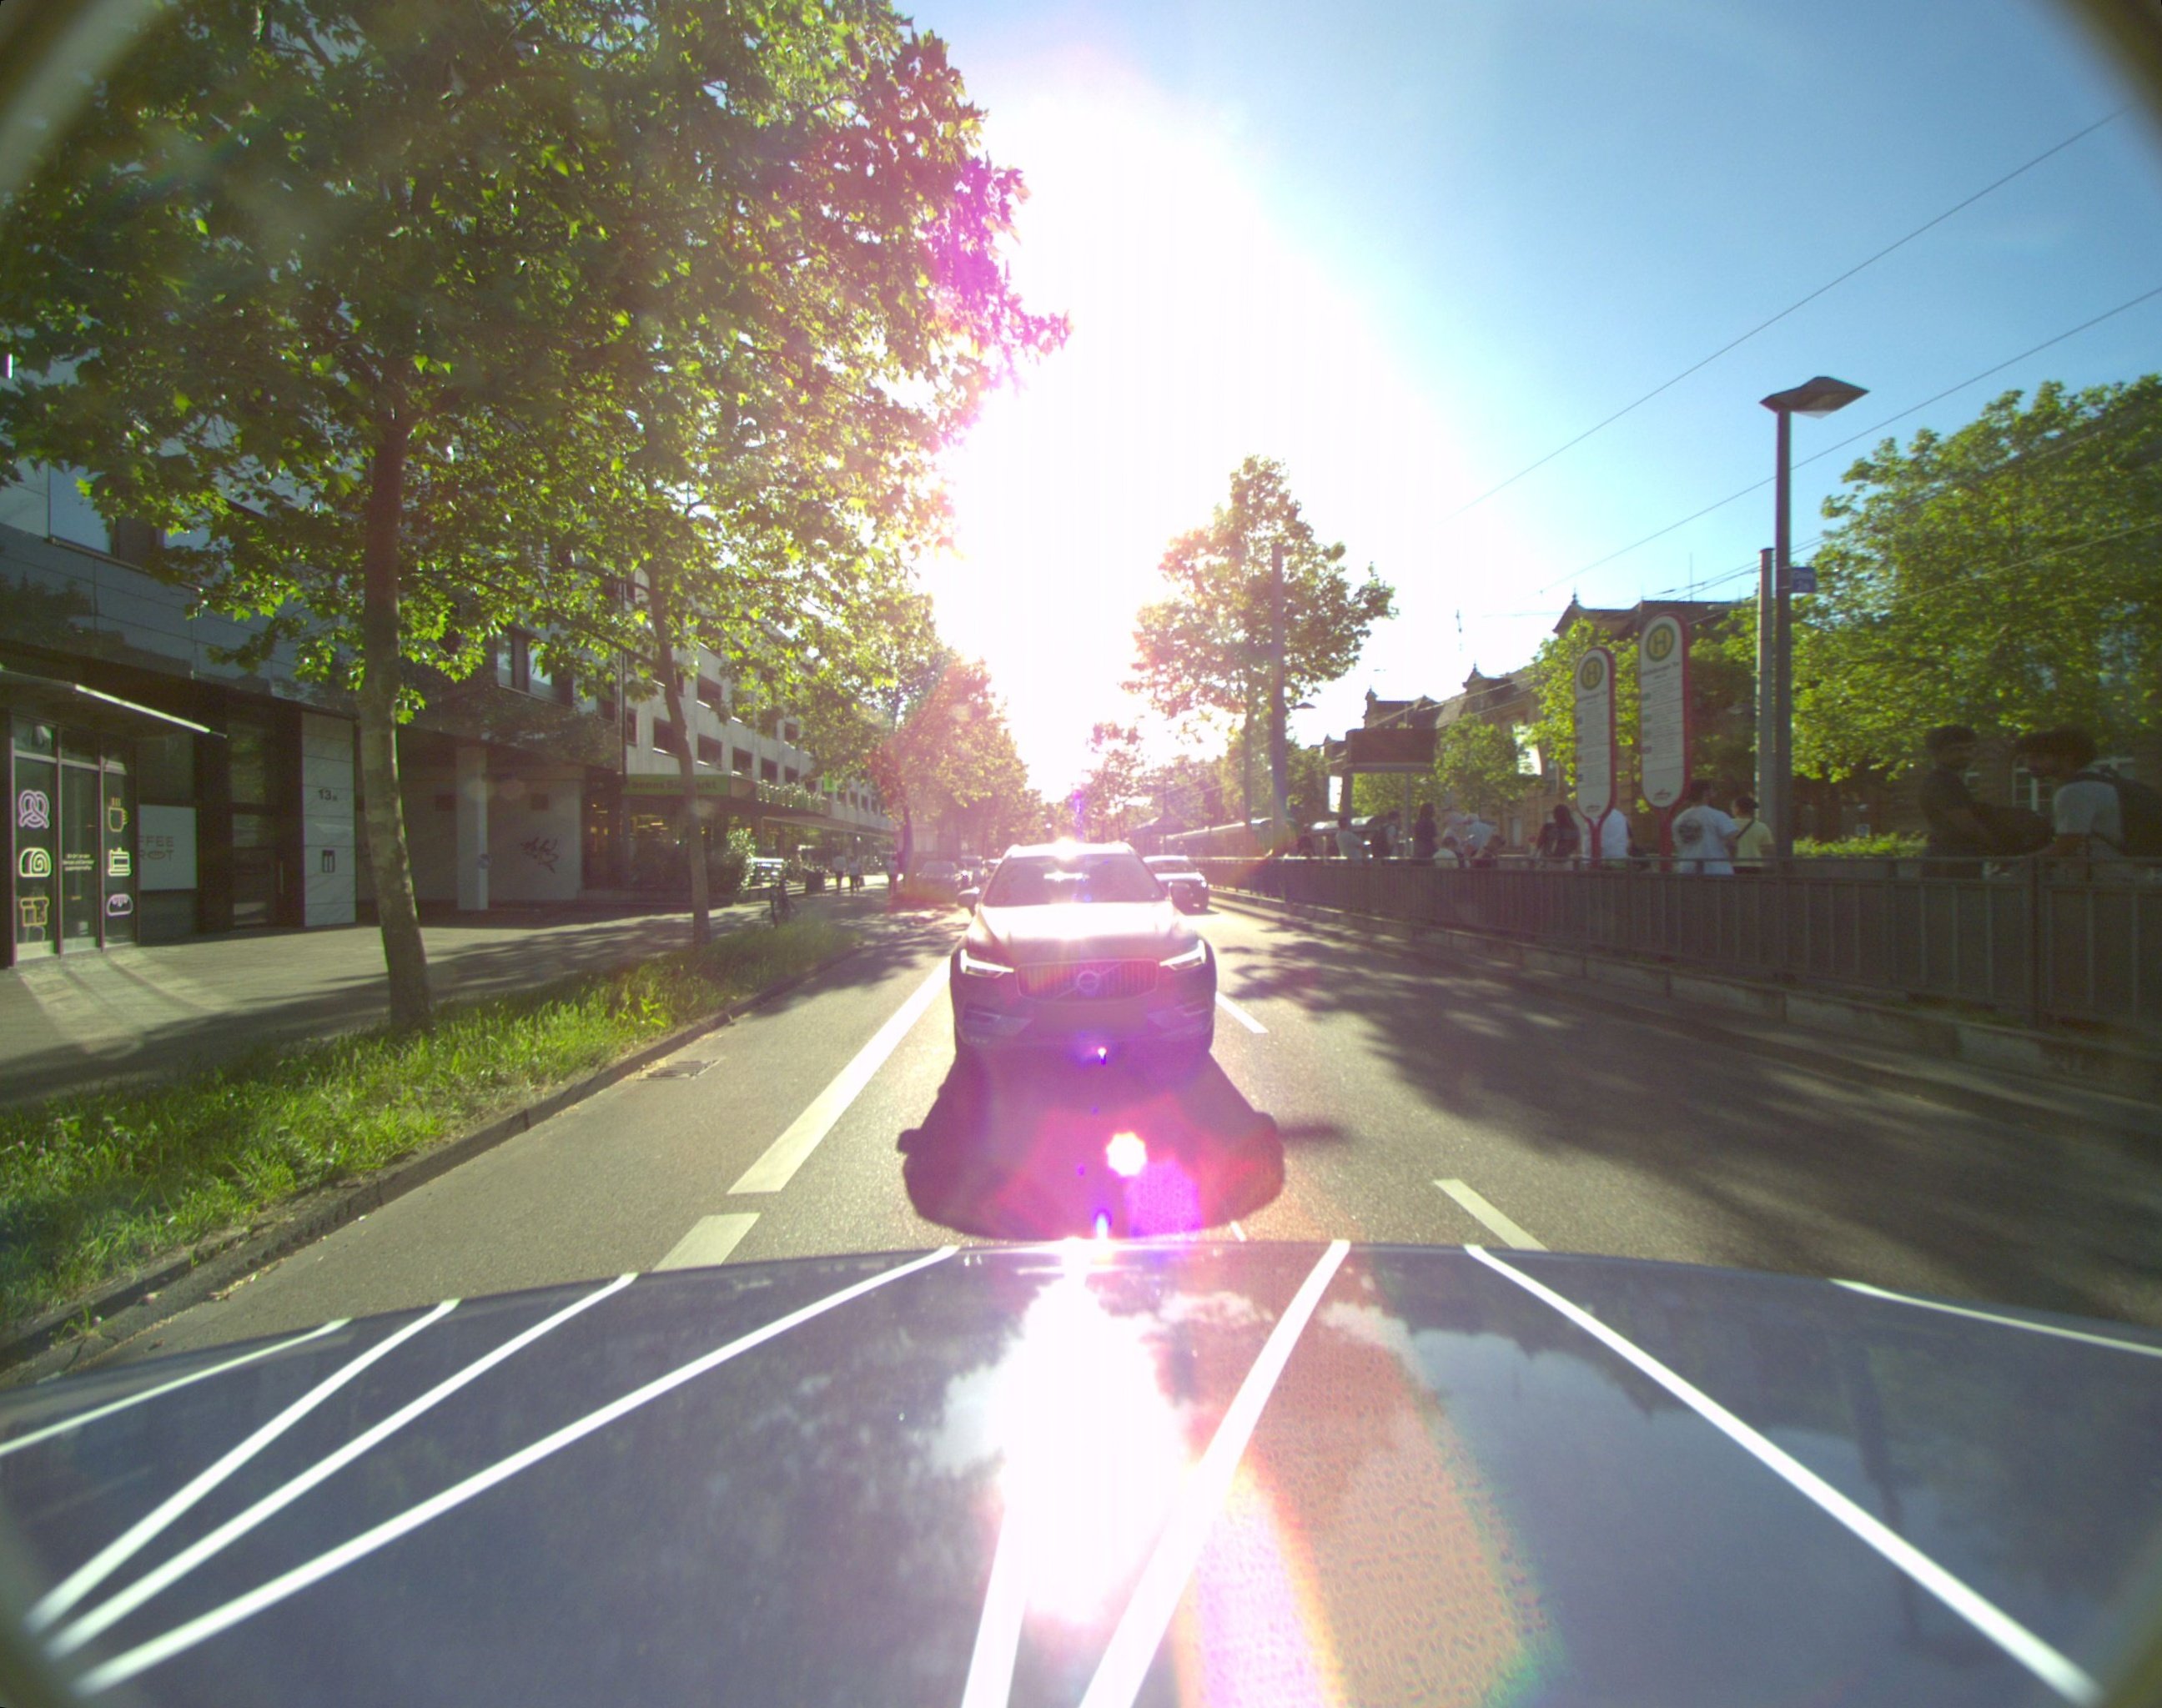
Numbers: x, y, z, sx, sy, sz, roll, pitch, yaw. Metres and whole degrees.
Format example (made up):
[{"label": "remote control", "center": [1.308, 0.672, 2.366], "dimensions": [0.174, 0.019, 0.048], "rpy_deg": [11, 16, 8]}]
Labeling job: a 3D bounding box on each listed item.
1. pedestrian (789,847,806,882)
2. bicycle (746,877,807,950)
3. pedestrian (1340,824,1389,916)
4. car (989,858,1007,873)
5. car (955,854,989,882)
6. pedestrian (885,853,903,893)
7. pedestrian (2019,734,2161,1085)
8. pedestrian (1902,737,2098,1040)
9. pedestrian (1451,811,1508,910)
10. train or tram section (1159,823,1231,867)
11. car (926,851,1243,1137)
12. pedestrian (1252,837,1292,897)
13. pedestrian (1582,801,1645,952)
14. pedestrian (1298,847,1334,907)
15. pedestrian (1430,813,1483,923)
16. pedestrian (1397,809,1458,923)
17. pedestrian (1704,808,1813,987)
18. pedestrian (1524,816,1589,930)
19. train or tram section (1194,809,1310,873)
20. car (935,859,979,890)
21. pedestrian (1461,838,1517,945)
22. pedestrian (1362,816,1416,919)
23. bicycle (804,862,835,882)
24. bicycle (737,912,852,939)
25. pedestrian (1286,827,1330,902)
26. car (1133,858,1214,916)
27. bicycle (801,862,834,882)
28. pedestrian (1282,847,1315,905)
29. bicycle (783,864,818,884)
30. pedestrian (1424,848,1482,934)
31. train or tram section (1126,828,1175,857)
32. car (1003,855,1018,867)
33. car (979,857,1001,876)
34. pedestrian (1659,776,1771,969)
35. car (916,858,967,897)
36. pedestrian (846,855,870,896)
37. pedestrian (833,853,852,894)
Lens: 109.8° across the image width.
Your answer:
[{"label": "pedestrian", "center": [-14.368, 0.547, 38.529], "dimensions": [0.614, 1.705, 0.611], "rpy_deg": [6, -1, -27]}, {"label": "bicycle", "center": [-5.375, 1.012, 13.495], "dimensions": [0.791, 1.126, 1.843], "rpy_deg": [0, 0, -15]}, {"label": "pedestrian", "center": [5.094, 0.281, 13.692], "dimensions": [0.662, 1.624, 0.570], "rpy_deg": [0, 1, -2]}, {"label": "car", "center": [-8.237, 1.085, 75.629], "dimensions": [1.630, 1.433, 3.929], "rpy_deg": [1, 0, -3]}, {"label": "car", "center": [-7.040, 0.874, 49.462], "dimensions": [1.769, 1.781, 4.392], "rpy_deg": [0, 0, -2]}, {"label": "pedestrian", "center": [-7.973, 0.806, 32.483], "dimensions": [0.561, 1.694, 1.051], "rpy_deg": [0, 0, -3]}, {"label": "pedestrian", "center": [5.430, 0.273, 3.988], "dimensions": [0.538, 1.724, 0.551], "rpy_deg": [0, 1, 41]}, {"label": "pedestrian", "center": [5.565, 0.196, 4.627], "dimensions": [0.549, 1.724, 0.539], "rpy_deg": [0, 1, -7]}, {"label": "pedestrian", "center": [6.772, 0.113, 12.928], "dimensions": [0.620, 1.640, 0.622], "rpy_deg": [0, 1, -7]}, {"label": "train or tram section", "center": [10.022, -0.705, 69.538], "dimensions": [2.879, 3.414, 18.270], "rpy_deg": [-2, 0, -3]}, {"label": "car", "center": [-0.074, 0.845, 6.823], "dimensions": [1.914, 1.695, 4.272], "rpy_deg": [-2, 1, -3]}, {"label": "pedestrian", "center": [4.907, 0.332, 19.535], "dimensions": [0.778, 1.501, 0.751], "rpy_deg": [0, 1, -6]}, {"label": "pedestrian", "center": [6.203, 0.252, 8.875], "dimensions": [0.506, 1.692, 0.612], "rpy_deg": [0, 1, 25]}, {"label": "pedestrian", "center": [4.942, 0.472, 15.985], "dimensions": [0.535, 1.239, 0.604], "rpy_deg": [0, 1, -5]}, {"label": "pedestrian", "center": [5.938, 0.209, 12.049], "dimensions": [0.516, 1.698, 0.621], "rpy_deg": [0, 1, -3]}, {"label": "pedestrian", "center": [5.270, 0.175, 11.567], "dimensions": [0.662, 1.686, 0.570], "rpy_deg": [0, 1, -2]}, {"label": "pedestrian", "center": [6.919, 0.429, 7.783], "dimensions": [0.555, 1.760, 0.611], "rpy_deg": [0, 1, -7]}, {"label": "pedestrian", "center": [6.475, 0.251, 10.369], "dimensions": [0.546, 1.510, 0.530], "rpy_deg": [0, 1, -3]}, {"label": "train or tram section", "center": [10.874, -0.711, 51.309], "dimensions": [2.857, 3.414, 18.209], "rpy_deg": [-2, 0, -3]}, {"label": "car", "center": [-6.446, 1.028, 39.827], "dimensions": [1.766, 1.409, 4.698], "rpy_deg": [-1, 0, -4]}, {"label": "pedestrian", "center": [5.156, 0.463, 9.623], "dimensions": [0.417, 1.308, 0.507], "rpy_deg": [0, 1, -5]}, {"label": "pedestrian", "center": [5.132, 0.218, 12.682], "dimensions": [0.662, 1.686, 0.570], "rpy_deg": [0, 1, -2]}, {"label": "bicycle", "center": [-14.572, 0.983, 42.332], "dimensions": [1.700, 1.049, 0.587], "rpy_deg": [2, 0, 24]}, {"label": "bicycle", "center": [-5.148, 1.280, 13.800], "dimensions": [1.613, 0.351, 1.388], "rpy_deg": [0, 0, -3]}, {"label": "pedestrian", "center": [5.399, 0.238, 18.089], "dimensions": [0.778, 1.742, 0.723], "rpy_deg": [0, 1, -6]}, {"label": "car", "center": [2.506, 0.850, 21.489], "dimensions": [1.707, 1.407, 3.875], "rpy_deg": [-2, 0, -1]}, {"label": "bicycle", "center": [-14.307, 0.987, 41.240], "dimensions": [1.700, 1.049, 0.587], "rpy_deg": [1, -1, 24]}, {"label": "pedestrian", "center": [4.881, 0.482, 17.072], "dimensions": [0.535, 1.292, 0.604], "rpy_deg": [0, 1, -6]}, {"label": "bicycle", "center": [-13.749, 0.972, 37.262], "dimensions": [1.648, 0.910, 0.587], "rpy_deg": [1, -2, 24]}, {"label": "pedestrian", "center": [5.262, 0.511, 10.768], "dimensions": [0.546, 1.185, 0.530], "rpy_deg": [0, 1, -3]}, {"label": "train or tram section", "center": [6.444, -0.987, 73.275], "dimensions": [2.570, 2.516, 15.068], "rpy_deg": [-1, 0, -3]}, {"label": "car", "center": [-9.831, 0.983, 106.657], "dimensions": [1.839, 1.556, 4.272], "rpy_deg": [-2, 0, -3]}, {"label": "car", "center": [-7.779, 1.036, 65.198], "dimensions": [1.678, 1.430, 3.688], "rpy_deg": [2, 1, -4]}, {"label": "pedestrian", "center": [5.803, 0.162, 6.980], "dimensions": [0.507, 1.692, 0.611], "rpy_deg": [0, 1, -7]}, {"label": "car", "center": [-5.967, 0.969, 32.827], "dimensions": [1.569, 1.541, 3.999], "rpy_deg": [-1, 0, -2]}, {"label": "pedestrian", "center": [-9.104, 0.866, 31.056], "dimensions": [0.699, 1.603, 0.868], "rpy_deg": [1, 0, -1]}, {"label": "pedestrian", "center": [-10.138, 0.808, 32.281], "dimensions": [0.561, 1.734, 0.878], "rpy_deg": [0, 1, -3]}]
